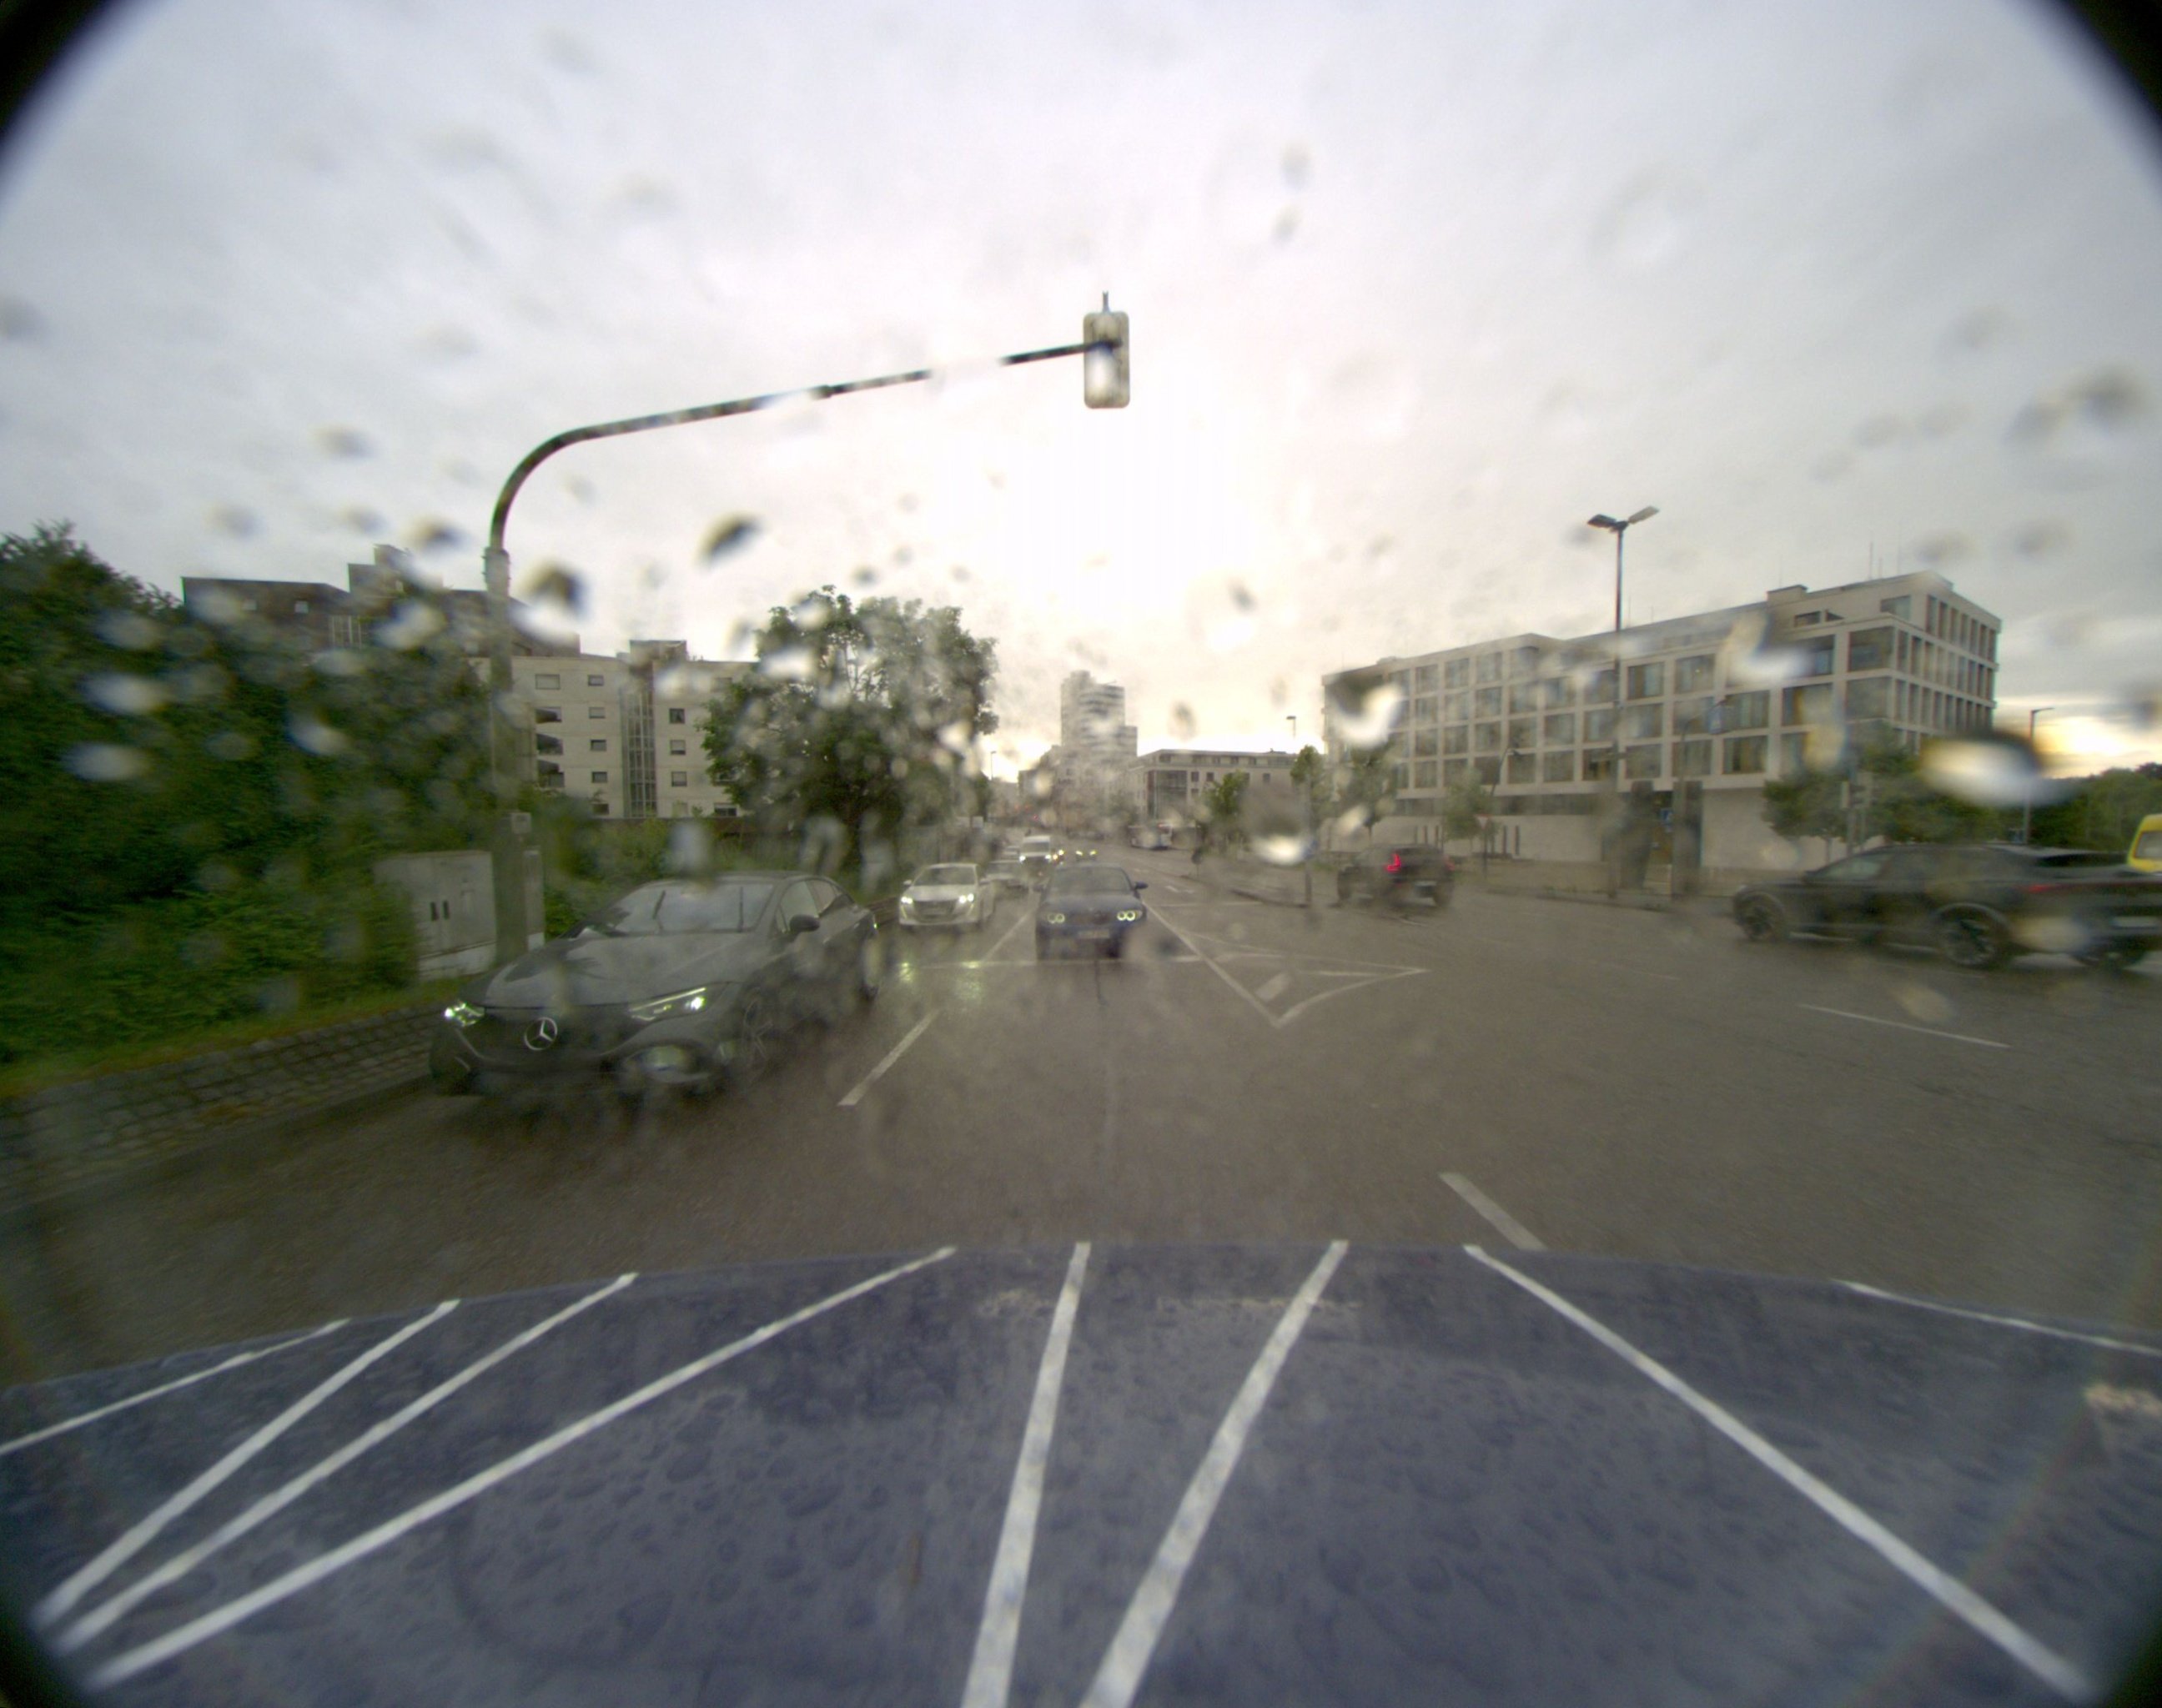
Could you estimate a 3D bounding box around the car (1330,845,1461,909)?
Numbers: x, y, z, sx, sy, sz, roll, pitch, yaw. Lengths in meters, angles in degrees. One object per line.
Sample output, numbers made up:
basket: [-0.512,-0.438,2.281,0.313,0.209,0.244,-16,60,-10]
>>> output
car: [8.443,0.543,20.799,1.908,1.543,4.074,0,1,0]

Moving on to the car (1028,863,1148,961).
car: [0.141,0.900,13.375,1.787,1.335,3.704,-1,1,1]

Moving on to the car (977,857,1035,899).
car: [-2.819,0.864,29.125,1.718,1.369,3.734,-2,1,1]

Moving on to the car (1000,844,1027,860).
car: [-6.160,-0.207,69.858,1.998,1.344,3.803,1,1,1]

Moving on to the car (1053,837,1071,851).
car: [-2.290,-1.171,91.016,1.999,1.543,3.999,-1,0,-2]

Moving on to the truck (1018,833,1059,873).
truck: [-2.725,-0.135,50.046,2.169,2.425,6.199,-1,1,1]

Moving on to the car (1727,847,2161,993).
car: [11.494,0.685,10.142,1.955,1.470,4.294,1,1,-2]

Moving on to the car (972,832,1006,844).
car: [-11.427,-1.983,94.214,4.000,1.412,1.701,-2,2,-9]

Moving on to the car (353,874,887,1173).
car: [-3.198,1.026,6.608,1.836,1.436,4.549,-2,1,-1]

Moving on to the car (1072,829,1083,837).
car: [-0.681,-3.920,140.848,1.818,1.421,3.941,-2,3,2]

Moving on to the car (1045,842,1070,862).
car: [-1.977,-0.170,64.225,1.999,1.543,3.999,-1,0,-2]

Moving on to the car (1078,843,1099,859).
car: [0.688,-0.294,68.156,1.718,1.369,3.734,-2,1,1]

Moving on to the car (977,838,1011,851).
car: [-10.495,-1.189,91.833,4.000,1.412,1.998,-2,2,-9]

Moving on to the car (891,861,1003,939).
car: [-2.917,0.958,17.434,1.718,1.389,4.035,-2,1,1]

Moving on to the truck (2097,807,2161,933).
truck: [24.552,0.359,16.387,6.185,2.524,2.222,1,2,-29]

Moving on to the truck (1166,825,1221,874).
truck: [6.014,-0.285,41.488,2.169,2.425,6.199,-1,1,1]

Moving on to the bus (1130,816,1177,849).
bus: [9.452,-2.827,101.864,2.952,3.972,18.215,1,1,-5]

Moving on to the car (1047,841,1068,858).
car: [-2.261,-0.464,73.757,1.999,1.543,3.999,-1,0,-2]
